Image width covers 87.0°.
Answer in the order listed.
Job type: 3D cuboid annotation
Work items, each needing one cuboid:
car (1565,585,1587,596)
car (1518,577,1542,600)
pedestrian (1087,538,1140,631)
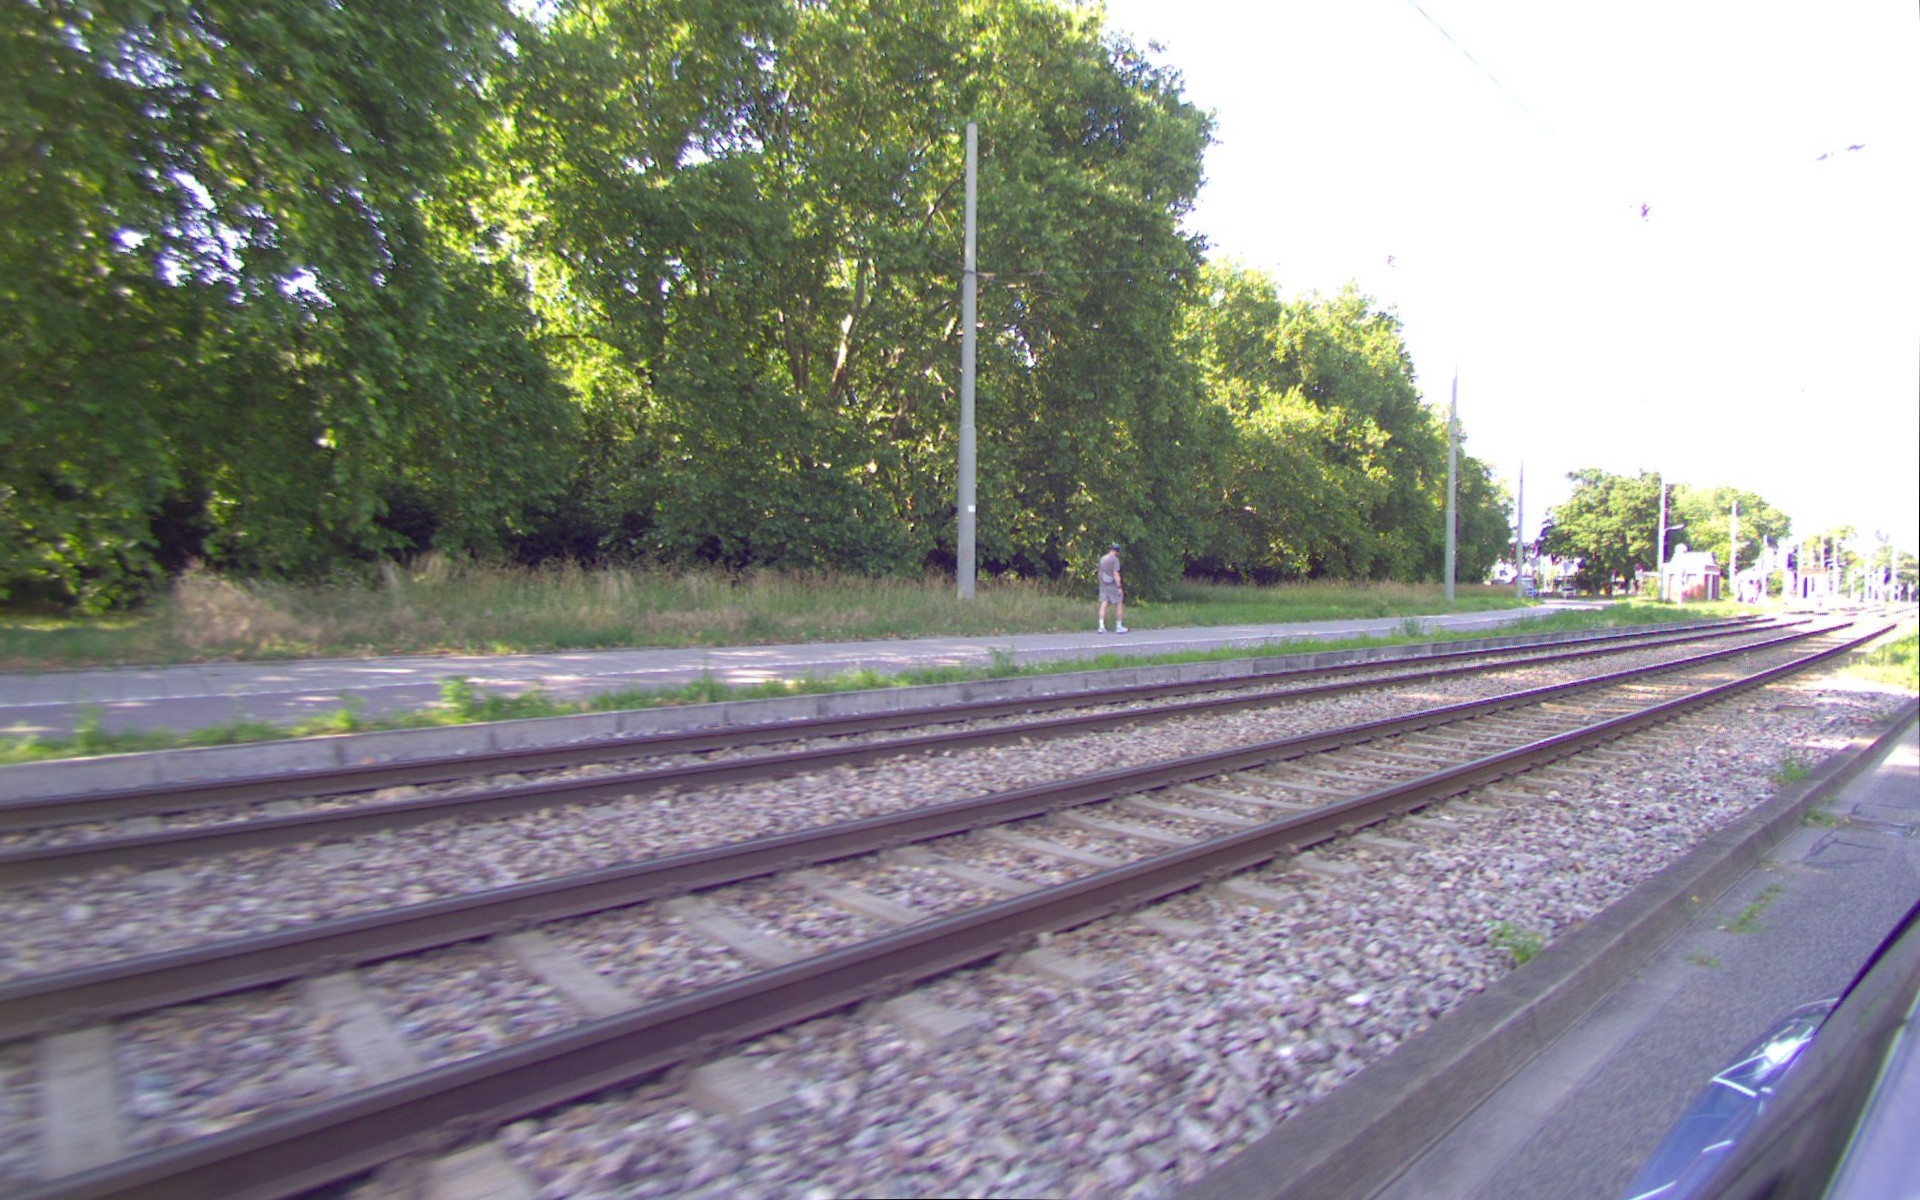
[{"bbox_3d":[83.003,-1.295,136.448,1.785,1.409,3.760,2,2,20],"label":"car"},{"bbox_3d":[65.791,-1.346,116.928,1.839,2.552,3.833,-1,0,22],"label":"car"},{"bbox_3d":[2.958,-0.301,19.480,0.868,1.737,0.502,1,1,-36],"label":"pedestrian"}]
